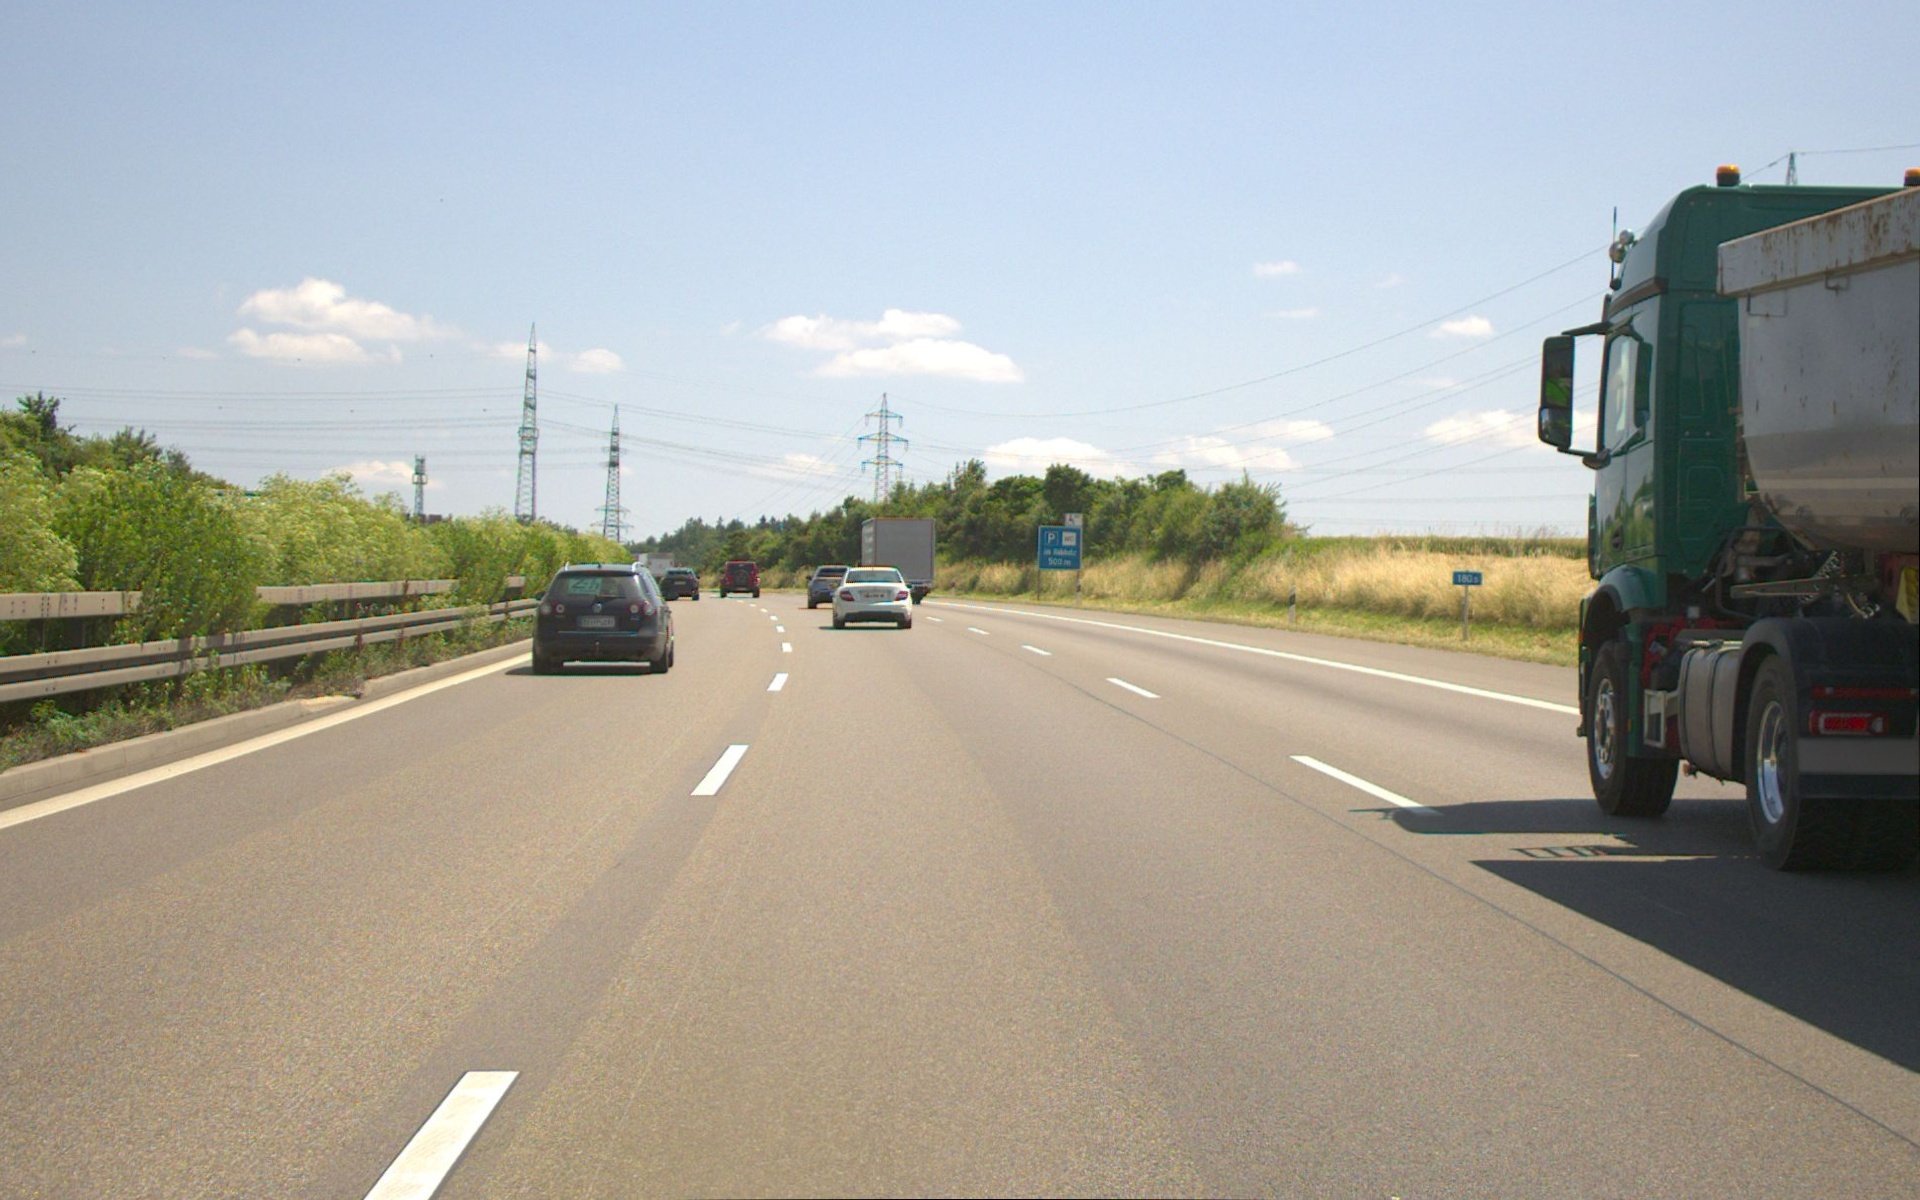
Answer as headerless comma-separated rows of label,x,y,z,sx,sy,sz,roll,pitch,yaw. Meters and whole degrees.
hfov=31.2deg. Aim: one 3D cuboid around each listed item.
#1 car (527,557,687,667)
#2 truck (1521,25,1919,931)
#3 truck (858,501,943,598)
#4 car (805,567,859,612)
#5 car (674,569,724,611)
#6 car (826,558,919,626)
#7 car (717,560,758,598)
car,-4.730,0.132,46.519,1.756,1.424,4.000,0,1,0
truck,5.302,-0.524,16.178,2.865,3.711,12.764,0,1,-2
truck,-2.561,-2.062,145.132,3.221,3.911,9.061,0,0,-3
car,-4.478,-0.371,120.256,1.838,1.535,3.915,0,1,-3
car,-11.696,-0.474,154.011,1.993,1.853,4.000,0,1,-1
car,-2.055,-0.208,79.850,1.819,1.535,3.915,0,1,-6
car,-11.208,-1.077,173.301,1.901,1.919,4.000,0,1,-2
